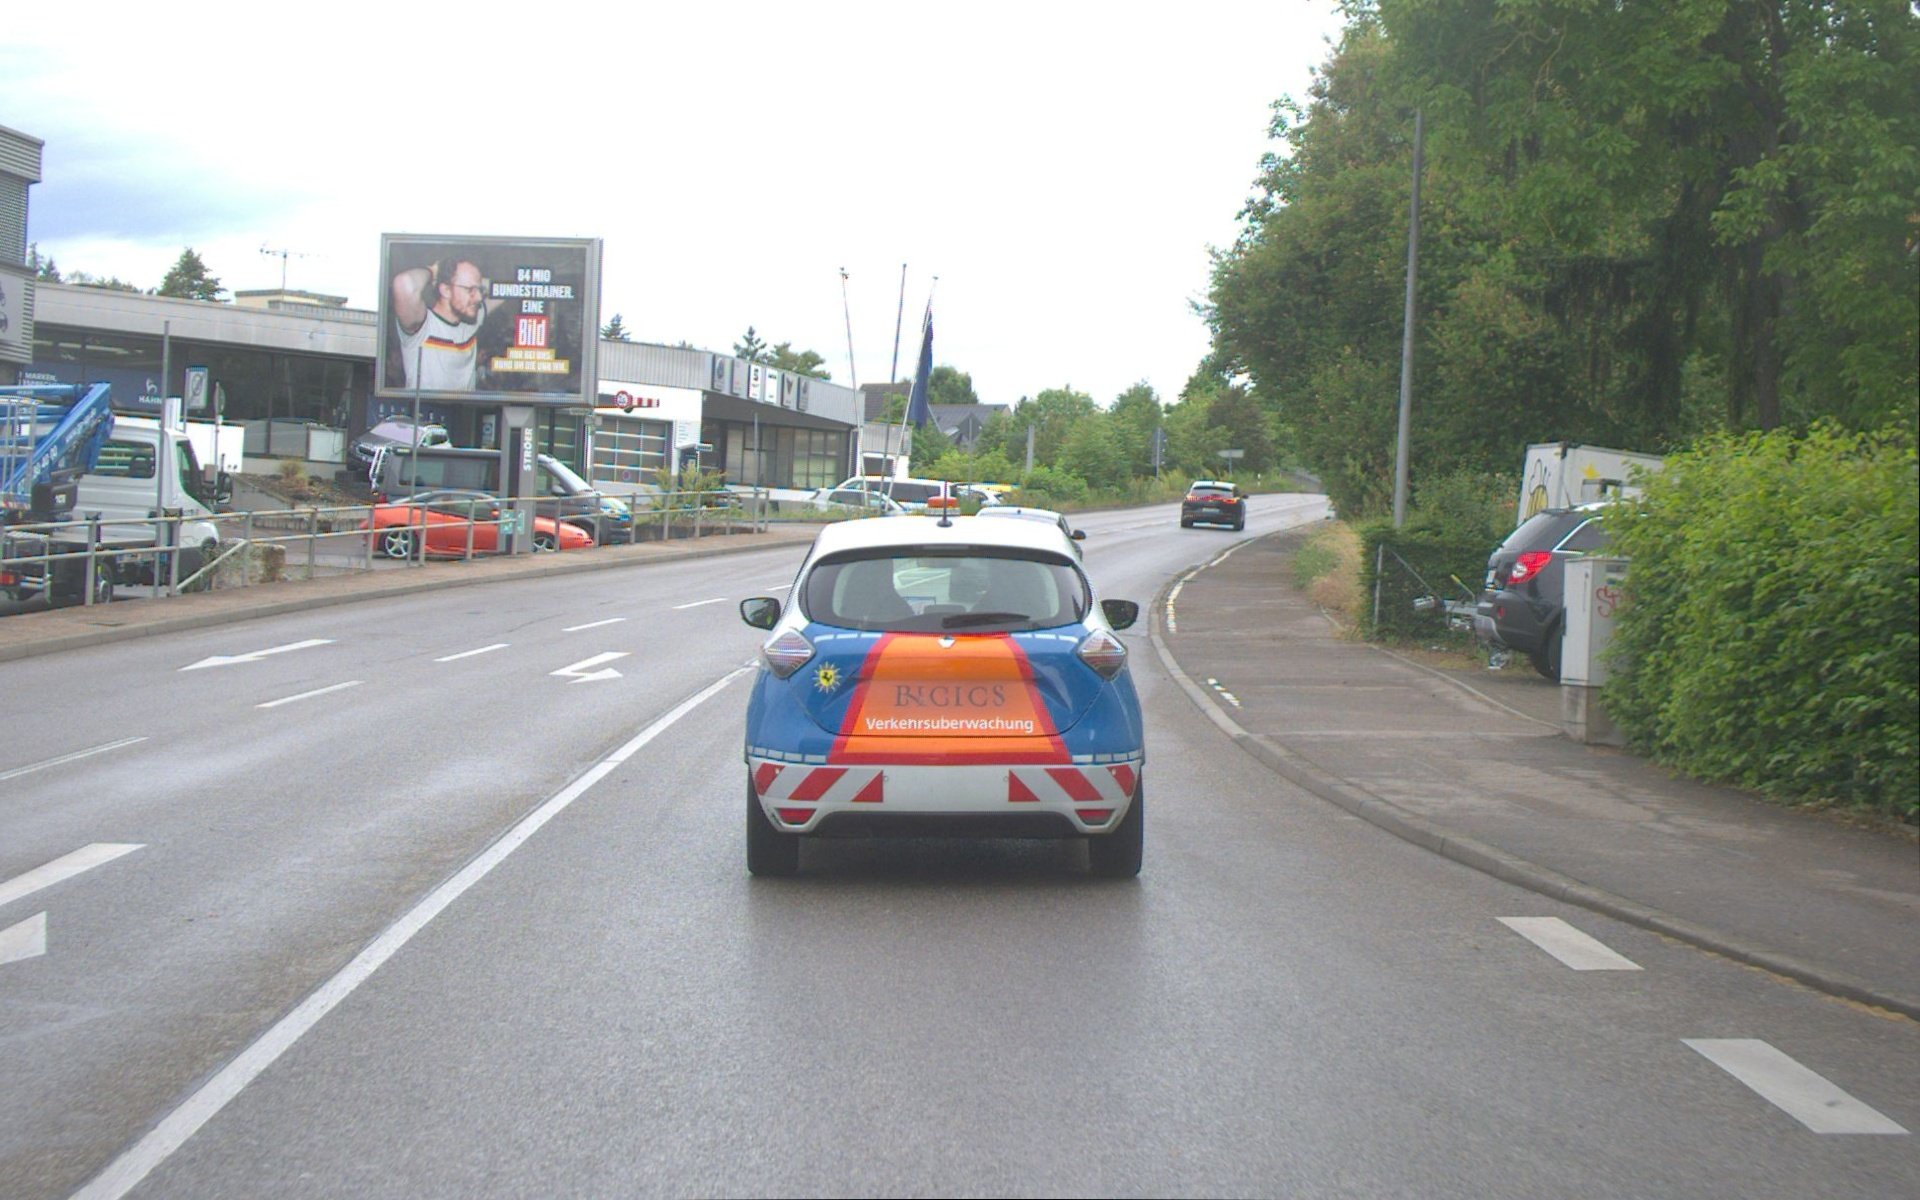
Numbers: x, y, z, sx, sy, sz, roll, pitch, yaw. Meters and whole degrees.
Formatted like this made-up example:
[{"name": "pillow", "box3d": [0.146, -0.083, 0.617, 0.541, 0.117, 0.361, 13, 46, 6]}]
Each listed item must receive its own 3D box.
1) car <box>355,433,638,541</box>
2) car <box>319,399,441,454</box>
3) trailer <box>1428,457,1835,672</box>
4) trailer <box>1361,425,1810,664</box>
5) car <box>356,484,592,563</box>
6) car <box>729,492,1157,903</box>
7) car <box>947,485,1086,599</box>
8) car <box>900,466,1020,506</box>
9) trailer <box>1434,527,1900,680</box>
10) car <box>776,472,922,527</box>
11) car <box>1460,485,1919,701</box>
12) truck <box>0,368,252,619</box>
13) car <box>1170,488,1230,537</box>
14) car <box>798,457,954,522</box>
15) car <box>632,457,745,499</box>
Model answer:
[{"name": "car", "box3d": [-8.786, -2.155, 65.424, 5.067, 1.864, 1.823, 2, 2, 0]}, {"name": "car", "box3d": [-16.826, -5.026, 99.974, 1.819, 1.473, 4.019, 3, 3, 18]}, {"name": "trailer", "box3d": [7.225, -0.407, 37.251, 3.952, 2.015, 1.687, 4, 2, 1]}, {"name": "trailer", "box3d": [7.096, -0.646, 39.267, 4.534, 2.392, 1.950, 3, 2, -6]}, {"name": "car", "box3d": [-8.802, -1.397, 62.544, 4.091, 1.263, 1.770, 2, 2, -4]}, {"name": "car", "box3d": [-0.138, 0.354, 15.805, 1.657, 1.587, 3.569, 3, 1, -2]}, {"name": "car", "box3d": [0.884, -0.891, 51.521, 1.802, 1.584, 3.563, 2, 2, 5]}, {"name": "car", "box3d": [0.002, -4.065, 122.316, 4.063, 1.286, 1.804, 2, 3, 6]}, {"name": "trailer", "box3d": [7.201, 0.017, 35.295, 4.397, 1.283, 1.572, 3, 3, 1]}, {"name": "car", "box3d": [-3.276, -2.984, 101.636, 4.010, 1.473, 1.823, 2, 3, 8]}, {"name": "car", "box3d": [6.939, -0.089, 32.198, 4.213, 1.743, 1.984, 3, 3, 3]}, {"name": "truck", "box3d": [-10.425, -1.349, 39.990, 1.994, 2.623, 7.892, 2, 3, 6]}, {"name": "car", "box3d": [7.229, -2.634, 103.379, 1.614, 1.402, 3.497, 2, 2, 7]}, {"name": "car", "box3d": [-2.527, -3.352, 104.066, 4.414, 1.791, 1.934, 2, 3, 8]}, {"name": "car", "box3d": [-10.134, -4.552, 128.035, 4.019, 1.411, 1.949, 4, 3, 43]}]
